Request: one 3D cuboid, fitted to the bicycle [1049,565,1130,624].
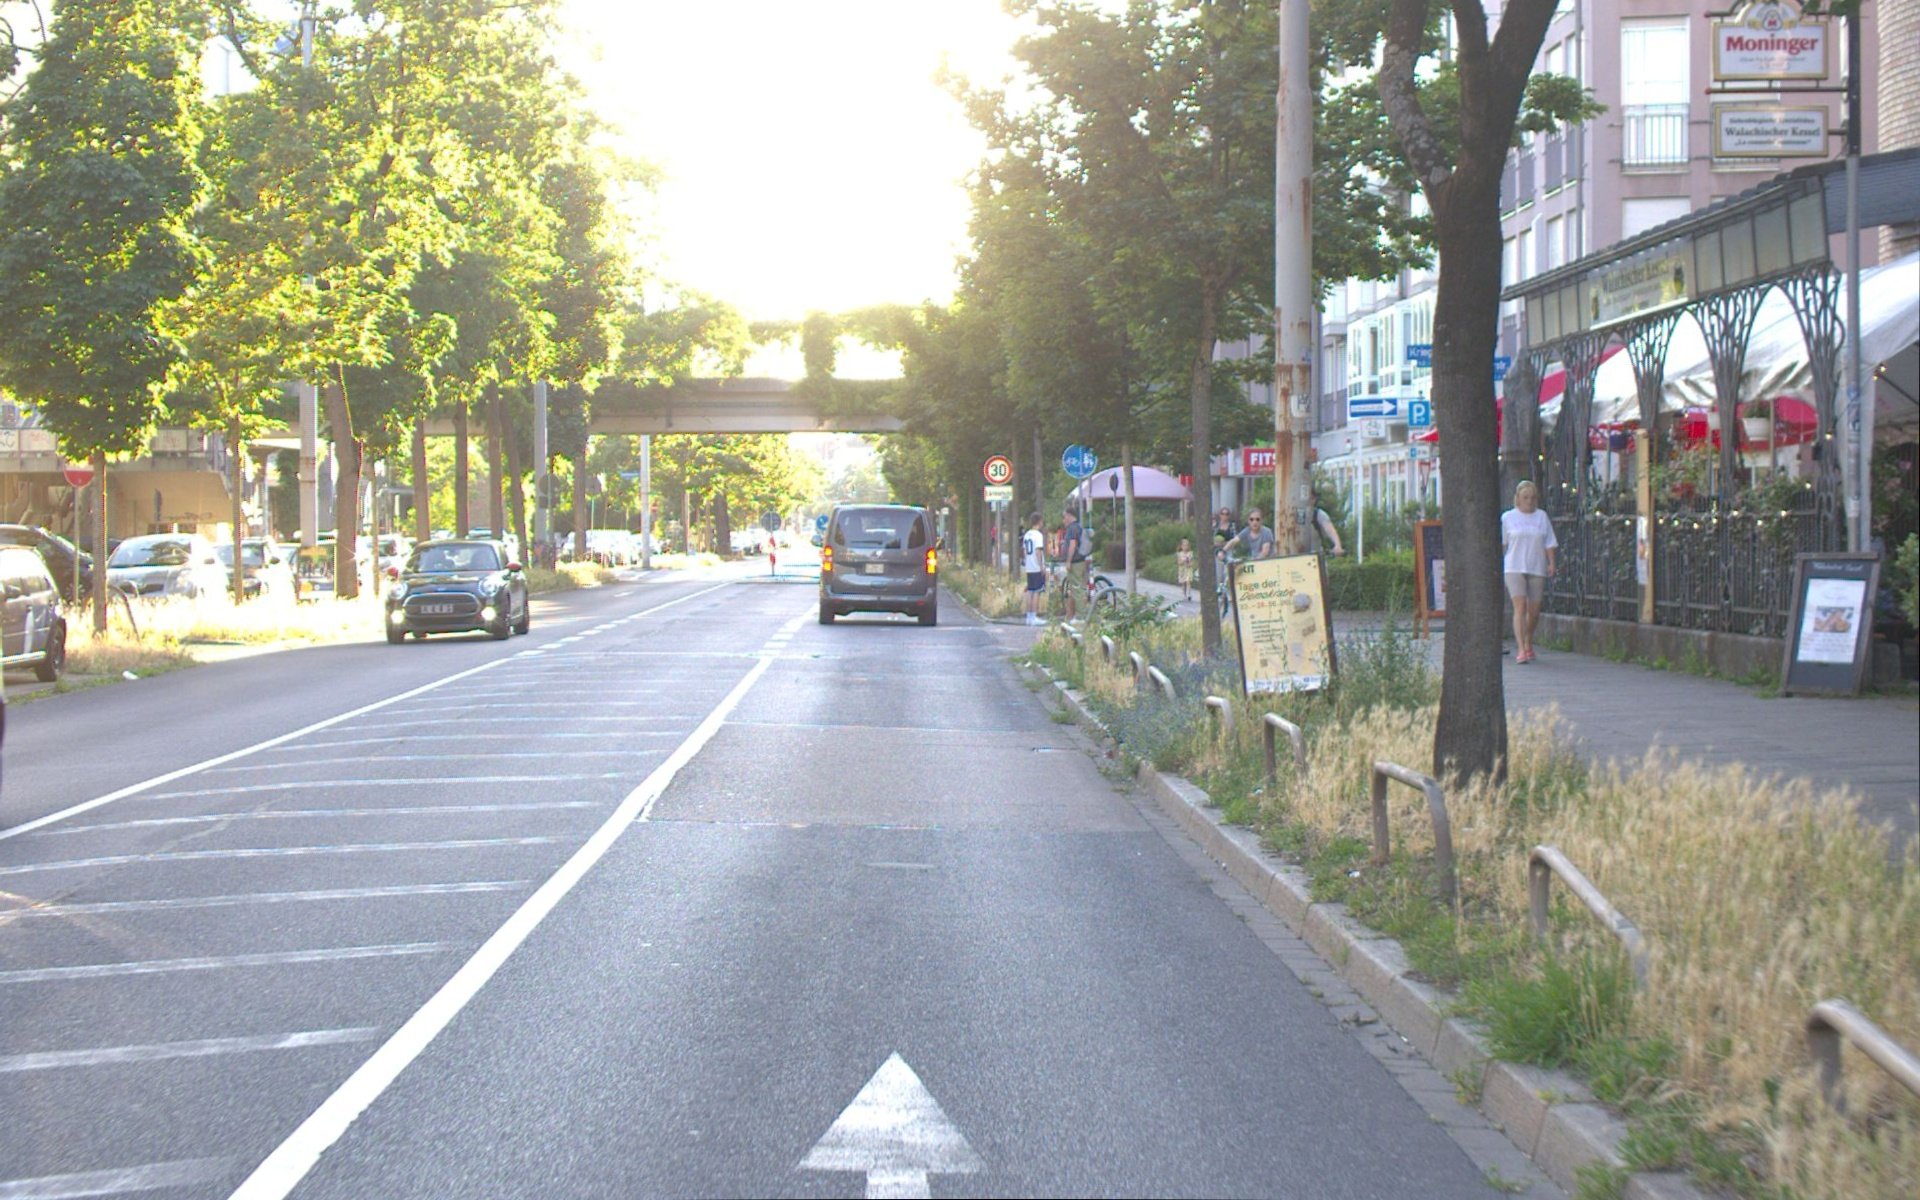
[{"bbox_3d":[2.125,-0.097,56.766,0.588,0.894,1.988,1,1,-21],"label":"bicycle"}]

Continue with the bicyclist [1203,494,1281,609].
[{"bbox_3d":[3.889,-0.677,47.447,0.935,1.552,0.546,2,1,-7],"label":"bicyclist"}]

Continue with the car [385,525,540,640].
[{"bbox_3d":[-7.090,-0.286,49.318,1.679,1.525,4.000,-2,1,-1],"label":"car"}]

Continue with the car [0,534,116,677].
[{"bbox_3d":[-10.205,0.012,36.454,1.638,1.381,4.001,2,1,-2],"label":"car"}]

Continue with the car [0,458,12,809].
[{"bbox_3d":[-5.907,0.239,16.052,1.833,1.846,4.474,-1,1,-2],"label":"car"}]

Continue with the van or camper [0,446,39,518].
[{"bbox_3d":[-36.580,-4.297,122.977,6.562,2.513,2.450,2,1,-3],"label":"van or camper"}]

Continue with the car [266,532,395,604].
[{"bbox_3d":[-13.366,-0.703,73.194,1.993,1.409,4.237,2,1,-1],"label":"car"}]

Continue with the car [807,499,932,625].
[{"bbox_3d":[-1.412,-0.639,55.007,1.887,1.918,3.839,-1,1,0],"label":"car"}]

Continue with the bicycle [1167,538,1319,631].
[{"bbox_3d":[3.906,-0.222,47.460,1.980,1.222,0.548,2,1,-7],"label":"bicycle"}]

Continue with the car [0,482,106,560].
[{"bbox_3d":[-27.824,-2.417,105.448,1.993,2.300,5.245,2,1,-1],"label":"car"}]

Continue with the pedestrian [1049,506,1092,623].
[{"bbox_3d":[1.794,-0.576,55.907,0.504,1.882,0.545,1,1,-16],"label":"pedestrian"}]

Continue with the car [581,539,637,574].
[{"bbox_3d":[-15.048,-1.898,147.555,1.993,1.409,4.237,2,1,-1],"label":"car"}]

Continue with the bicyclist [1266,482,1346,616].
[{"bbox_3d":[3.286,-0.485,32.670,0.585,1.232,1.112,2,1,-1],"label":"bicyclist"}]

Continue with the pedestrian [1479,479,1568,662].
[{"bbox_3d":[5.116,-0.272,31.264,0.644,1.627,0.656,2,1,-1],"label":"pedestrian"}]

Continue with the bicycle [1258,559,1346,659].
[{"bbox_3d":[3.243,0.072,32.724,0.579,0.894,1.987,2,1,-1],"label":"bicycle"}]

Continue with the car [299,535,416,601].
[{"bbox_3d":[-13.840,-0.752,79.177,1.993,1.409,4.237,2,1,-1],"label":"car"}]

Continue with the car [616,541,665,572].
[{"bbox_3d":[-15.381,-2.108,165.668,1.993,1.409,4.237,2,1,-1],"label":"car"}]

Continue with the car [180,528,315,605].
[{"bbox_3d":[-12.961,-0.628,62.747,1.671,1.309,3.965,2,1,-1],"label":"car"}]

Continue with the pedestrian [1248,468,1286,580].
[{"bbox_3d":[7.047,-1.749,78.924,0.715,2.530,0.824,2,1,-1],"label":"pedestrian"}]

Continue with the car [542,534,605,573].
[{"bbox_3d":[-15.008,-1.818,133.638,1.993,1.409,4.237,2,1,-1],"label":"car"}]

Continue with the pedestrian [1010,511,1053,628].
[{"bbox_3d":[1.167,-0.503,56.325,0.504,1.882,0.545,1,1,-16],"label":"pedestrian"}]

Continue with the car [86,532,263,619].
[{"bbox_3d":[-12.707,-0.422,55.838,1.993,1.305,4.066,2,1,-1],"label":"car"}]

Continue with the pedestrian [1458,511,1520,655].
[{"bbox_3d":[5.057,-0.166,32.864,0.467,1.346,0.530,2,1,-1],"label":"pedestrian"}]
